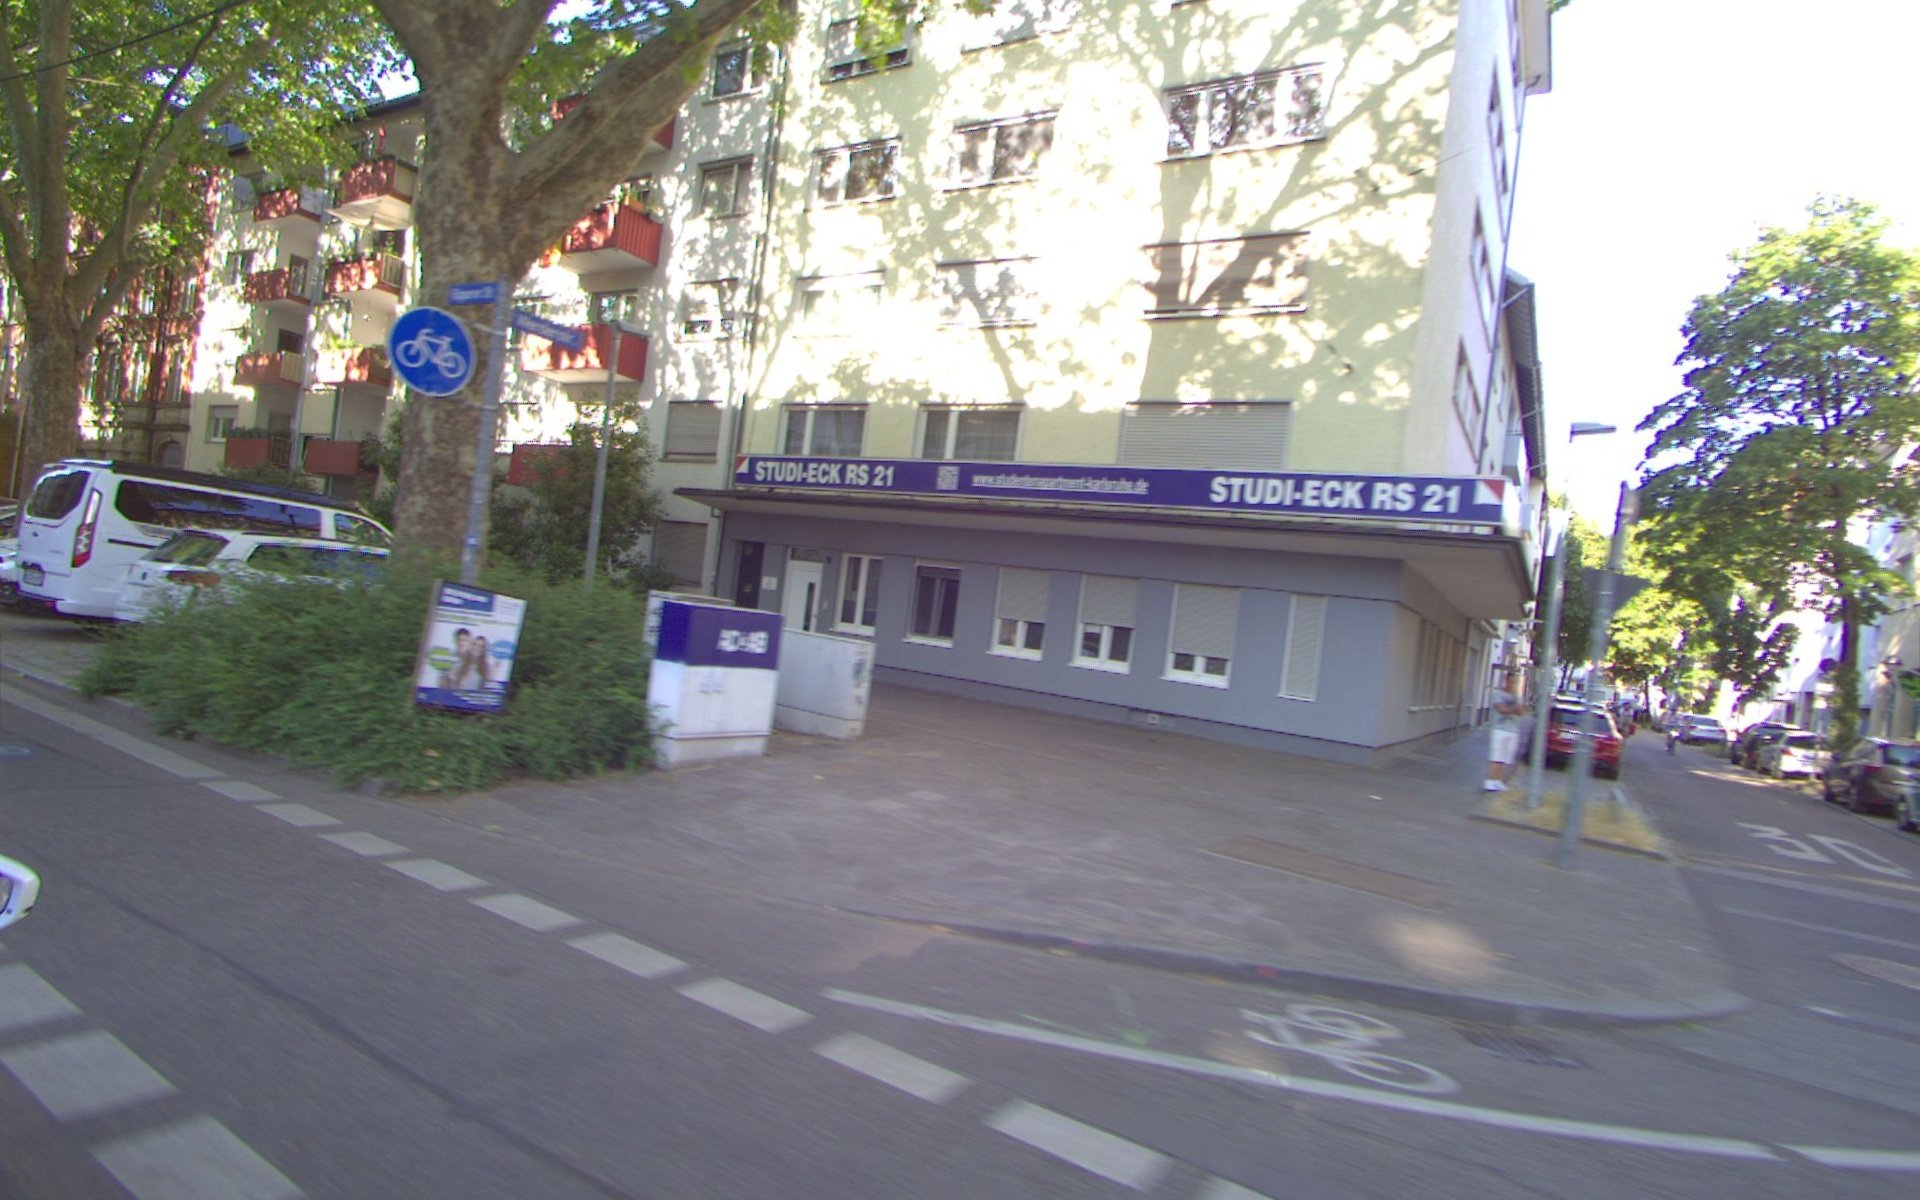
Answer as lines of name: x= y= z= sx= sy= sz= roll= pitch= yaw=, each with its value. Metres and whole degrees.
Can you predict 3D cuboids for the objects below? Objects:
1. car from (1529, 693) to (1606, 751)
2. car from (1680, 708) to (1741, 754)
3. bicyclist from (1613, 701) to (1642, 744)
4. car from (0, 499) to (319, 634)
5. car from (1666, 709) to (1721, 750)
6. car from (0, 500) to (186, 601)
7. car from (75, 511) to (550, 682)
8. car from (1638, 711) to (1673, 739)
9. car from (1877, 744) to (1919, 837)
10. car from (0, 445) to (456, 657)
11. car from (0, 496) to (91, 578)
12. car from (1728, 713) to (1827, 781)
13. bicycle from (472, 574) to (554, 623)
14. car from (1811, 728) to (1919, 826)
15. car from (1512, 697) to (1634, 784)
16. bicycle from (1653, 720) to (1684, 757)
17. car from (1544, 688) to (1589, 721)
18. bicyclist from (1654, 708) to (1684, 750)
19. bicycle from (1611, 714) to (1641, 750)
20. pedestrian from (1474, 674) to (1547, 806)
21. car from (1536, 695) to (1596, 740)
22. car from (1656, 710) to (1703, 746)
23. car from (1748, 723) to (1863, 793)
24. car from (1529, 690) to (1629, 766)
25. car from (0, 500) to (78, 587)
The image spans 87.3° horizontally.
car: x=22.009 y=4.392 z=36.597 sx=1.965 sy=1.625 sz=4.141 roll=9 pitch=0 yaw=29
car: x=37.275 y=6.481 z=50.056 sx=1.968 sy=1.811 sz=4.136 roll=9 pitch=0 yaw=34
bicyclist: x=25.950 y=4.753 z=39.147 sx=0.733 sy=1.521 sz=0.785 roll=7 pitch=1 yaw=29
car: x=-11.846 y=-0.445 z=14.557 sx=1.694 sy=1.497 sz=3.906 roll=7 pitch=-1 yaw=29
car: x=40.054 y=7.065 z=55.008 sx=1.968 sy=1.811 sz=4.136 roll=9 pitch=0 yaw=34
car: x=-16.819 y=-0.983 z=18.151 sx=1.891 sy=1.497 sz=4.042 roll=7 pitch=-1 yaw=32
car: x=-7.365 y=0.079 z=11.958 sx=1.800 sy=1.497 sz=4.305 roll=7 pitch=-1 yaw=30
car: x=55.371 y=9.908 z=80.126 sx=1.968 sy=1.811 sz=4.136 roll=9 pitch=0 yaw=34
car: x=17.510 y=3.401 z=16.964 sx=1.966 sy=1.521 sz=4.141 roll=5 pitch=-2 yaw=29
car: x=-9.472 y=-0.488 z=13.286 sx=1.966 sy=2.101 sz=4.553 roll=7 pitch=-1 yaw=29
car: x=-20.711 y=-1.486 z=20.583 sx=1.731 sy=1.532 sz=3.994 roll=7 pitch=-1 yaw=30
car: x=27.679 y=4.924 z=34.194 sx=1.968 sy=1.811 sz=4.136 roll=9 pitch=0 yaw=34
bicycle: x=-11.010 y=-0.026 z=24.822 sx=0.607 sy=1.055 sz=1.794 roll=7 pitch=1 yaw=27
car: x=19.994 y=3.785 z=21.331 sx=1.965 sy=1.656 sz=4.141 roll=9 pitch=0 yaw=29
car: x=13.874 y=3.107 z=22.996 sx=1.965 sy=1.439 sz=4.141 roll=9 pitch=0 yaw=29
bicycle: x=26.251 y=5.125 z=37.300 sx=0.733 sy=1.171 sz=1.792 roll=7 pitch=1 yaw=32
car: x=37.620 y=6.490 z=62.512 sx=1.965 sy=1.625 sz=4.141 roll=9 pitch=0 yaw=29
bicyclist: x=26.260 y=4.761 z=37.251 sx=0.733 sy=1.419 sz=0.659 roll=7 pitch=1 yaw=32
bicycle: x=25.920 y=5.118 z=39.172 sx=0.733 sy=1.171 sz=1.793 roll=7 pitch=1 yaw=29
pedestrian: x=7.478 y=1.879 z=13.664 sx=0.655 sy=1.664 sz=0.747 roll=7 pitch=0 yaw=33
car: x=27.706 y=5.344 z=46.117 sx=1.965 sy=1.625 sz=4.141 roll=9 pitch=0 yaw=29
car: x=44.228 y=7.837 z=61.907 sx=1.968 sy=1.811 sz=4.136 roll=9 pitch=0 yaw=34
car: x=25.113 y=4.639 z=30.022 sx=1.968 sy=1.522 sz=4.136 roll=9 pitch=0 yaw=34
car: x=17.282 y=3.530 z=28.273 sx=1.965 sy=1.625 sz=4.141 roll=9 pitch=0 yaw=29
car: x=-19.225 y=-1.275 z=18.435 sx=1.899 sy=1.532 sz=4.150 roll=7 pitch=-1 yaw=30
